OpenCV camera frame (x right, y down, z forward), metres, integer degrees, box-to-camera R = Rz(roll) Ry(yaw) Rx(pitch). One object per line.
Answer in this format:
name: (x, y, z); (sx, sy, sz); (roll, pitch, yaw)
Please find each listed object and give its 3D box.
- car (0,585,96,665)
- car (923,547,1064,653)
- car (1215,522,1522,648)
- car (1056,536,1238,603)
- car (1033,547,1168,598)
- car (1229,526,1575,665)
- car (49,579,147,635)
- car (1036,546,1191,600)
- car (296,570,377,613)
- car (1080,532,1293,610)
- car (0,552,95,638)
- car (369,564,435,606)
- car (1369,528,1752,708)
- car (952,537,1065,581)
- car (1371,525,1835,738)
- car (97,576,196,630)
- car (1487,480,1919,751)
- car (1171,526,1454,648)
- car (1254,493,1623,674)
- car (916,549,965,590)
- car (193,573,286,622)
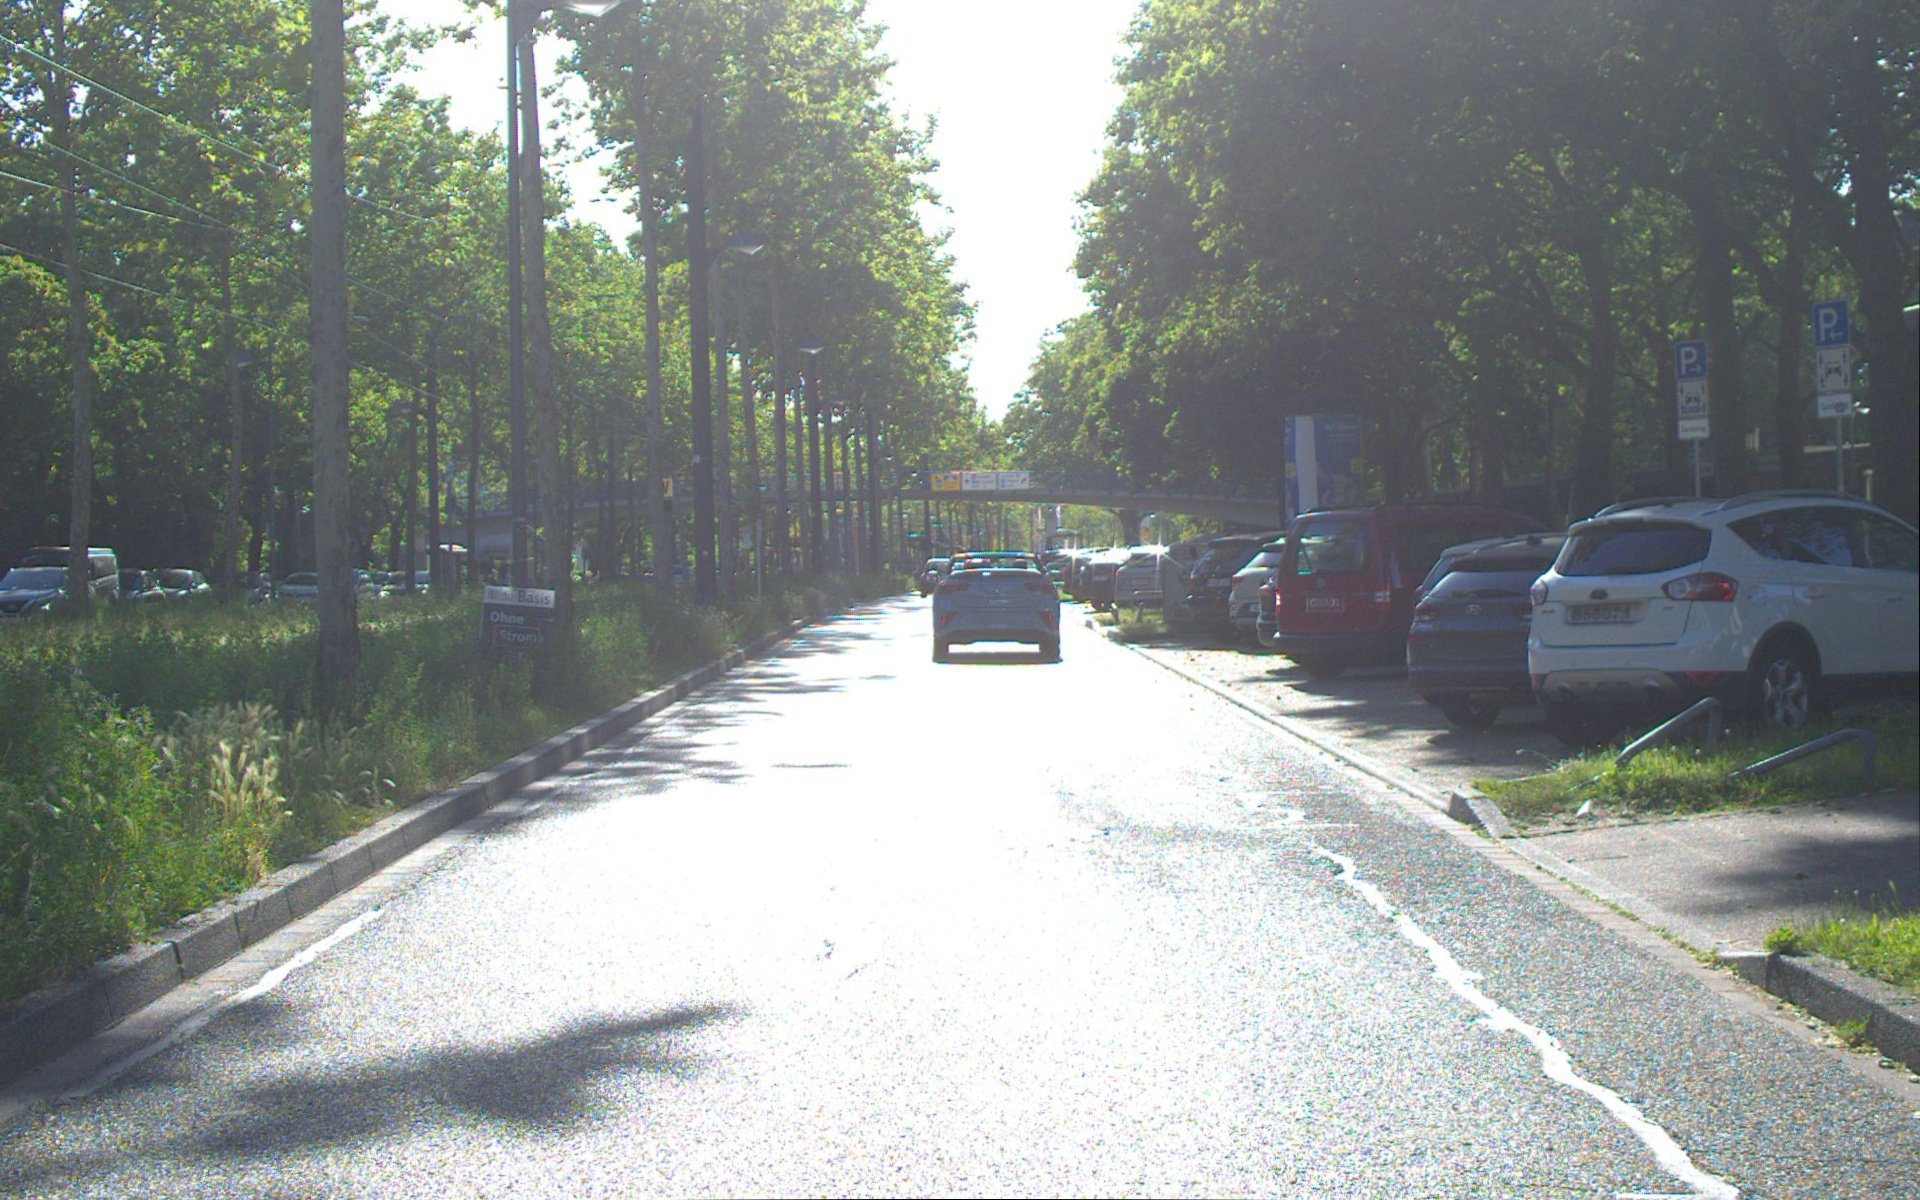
car: (-19.399, 0.519, 71.322); (1.923, 1.501, 4.085); (-4, 1, -1)
car: (0.461, -0.034, 48.861); (1.922, 1.406, 4.000); (0, 1, 0)
car: (5.778, -0.223, 48.457); (4.072, 1.576, 1.781); (-3, 1, -34)
car: (4.508, -0.744, 82.578); (4.318, 1.420, 1.855); (-3, 1, -43)
car: (4.795, -0.942, 116.686); (4.611, 1.674, 1.856); (-1, 1, -42)
car: (5.362, -0.066, 41.517); (4.073, 1.476, 1.651); (-3, 1, -36)
car: (-23.555, 0.176, 94.020); (1.645, 1.448, 3.663); (2, 1, 2)
car: (4.536, -0.808, 101.153); (1.978, 1.454, 4.613); (-1, 1, 44)
car: (-21.971, -0.314, 121.354); (1.993, 1.448, 4.000); (2, 1, 2)
car: (4.784, -0.621, 72.209); (4.482, 1.438, 1.855); (-3, 1, -43)
car: (-23.599, -0.166, 87.698); (1.645, 2.086, 4.915); (2, 1, 2)
car: (-21.991, -0.602, 135.541); (1.787, 1.584, 4.168); (2, 1, 2)
car: (5.499, 0.143, 31.248); (1.650, 1.443, 3.618); (-1, 1, 44)
car: (2.016, -1.684, 140.924); (4.611, 1.762, 1.856); (-1, 1, -42)
car: (5.130, 0.218, 27.169); (3.777, 1.465, 1.650); (-3, 1, -43)
car: (-23.402, 0.084, 99.032); (1.872, 1.448, 3.574); (2, 1, 2)
car: (5.719, 0.052, 24.124); (4.017, 1.699, 1.760); (-3, 1, -41)
car: (5.349, -0.218, 51.868); (4.308, 1.711, 1.635); (-2, 1, -39)
car: (5.299, -0.201, 37.810); (4.073, 1.804, 1.650); (-3, 1, -40)
car: (-0.760, -1.214, 136.640); (1.849, 1.530, 3.866); (-1, 1, 0)
car: (-22.861, -0.095, 109.249); (1.993, 1.448, 4.000); (2, 1, 2)
